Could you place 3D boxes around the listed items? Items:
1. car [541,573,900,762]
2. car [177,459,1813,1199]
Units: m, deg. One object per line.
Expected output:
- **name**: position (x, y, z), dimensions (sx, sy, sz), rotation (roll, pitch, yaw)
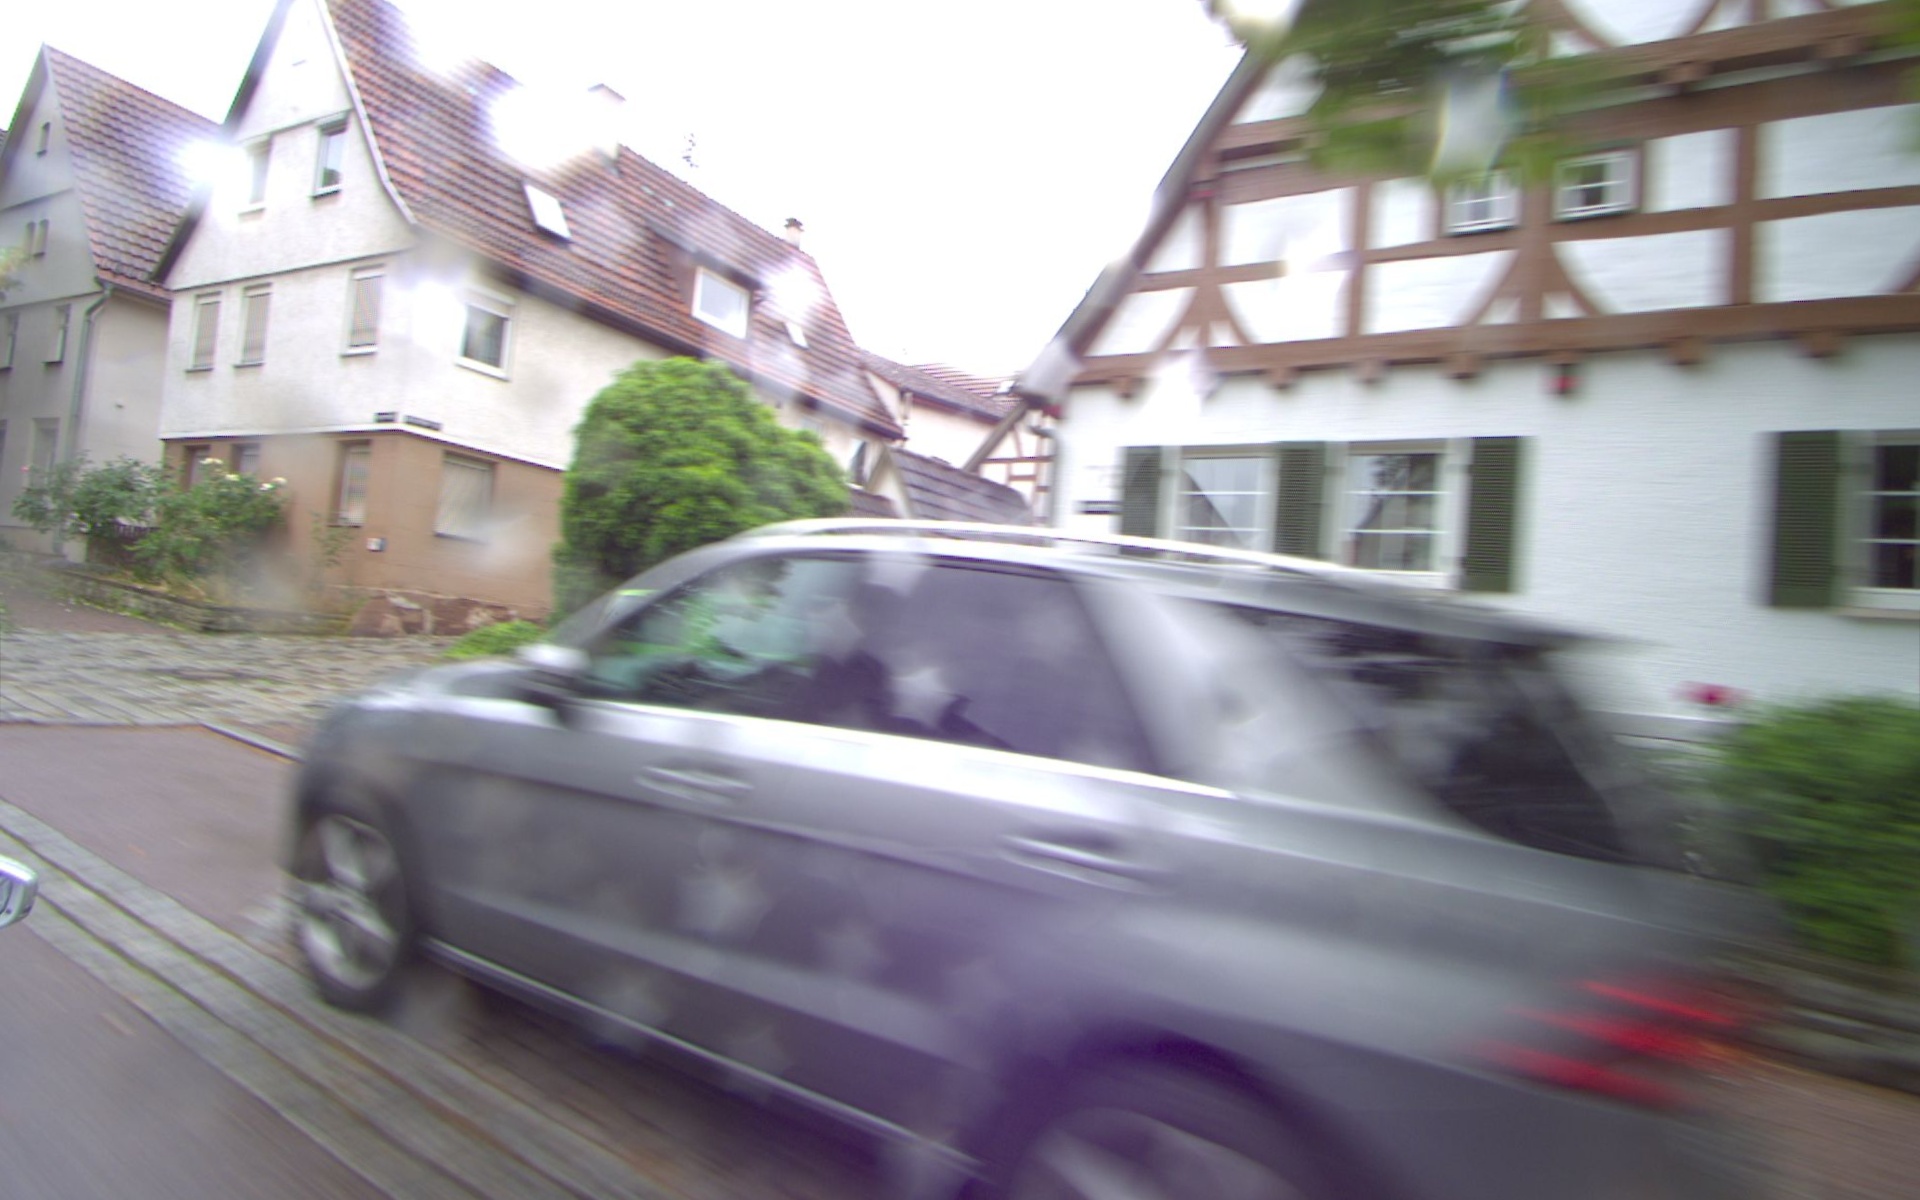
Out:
- **car**: position (-2.248, 0.670, 10.242), dimensions (1.602, 1.447, 3.371), rotation (7, -1, 28)
- **car**: position (-0.347, 0.703, 3.337), dimensions (4.413, 1.813, 1.919), rotation (7, -2, 31)
